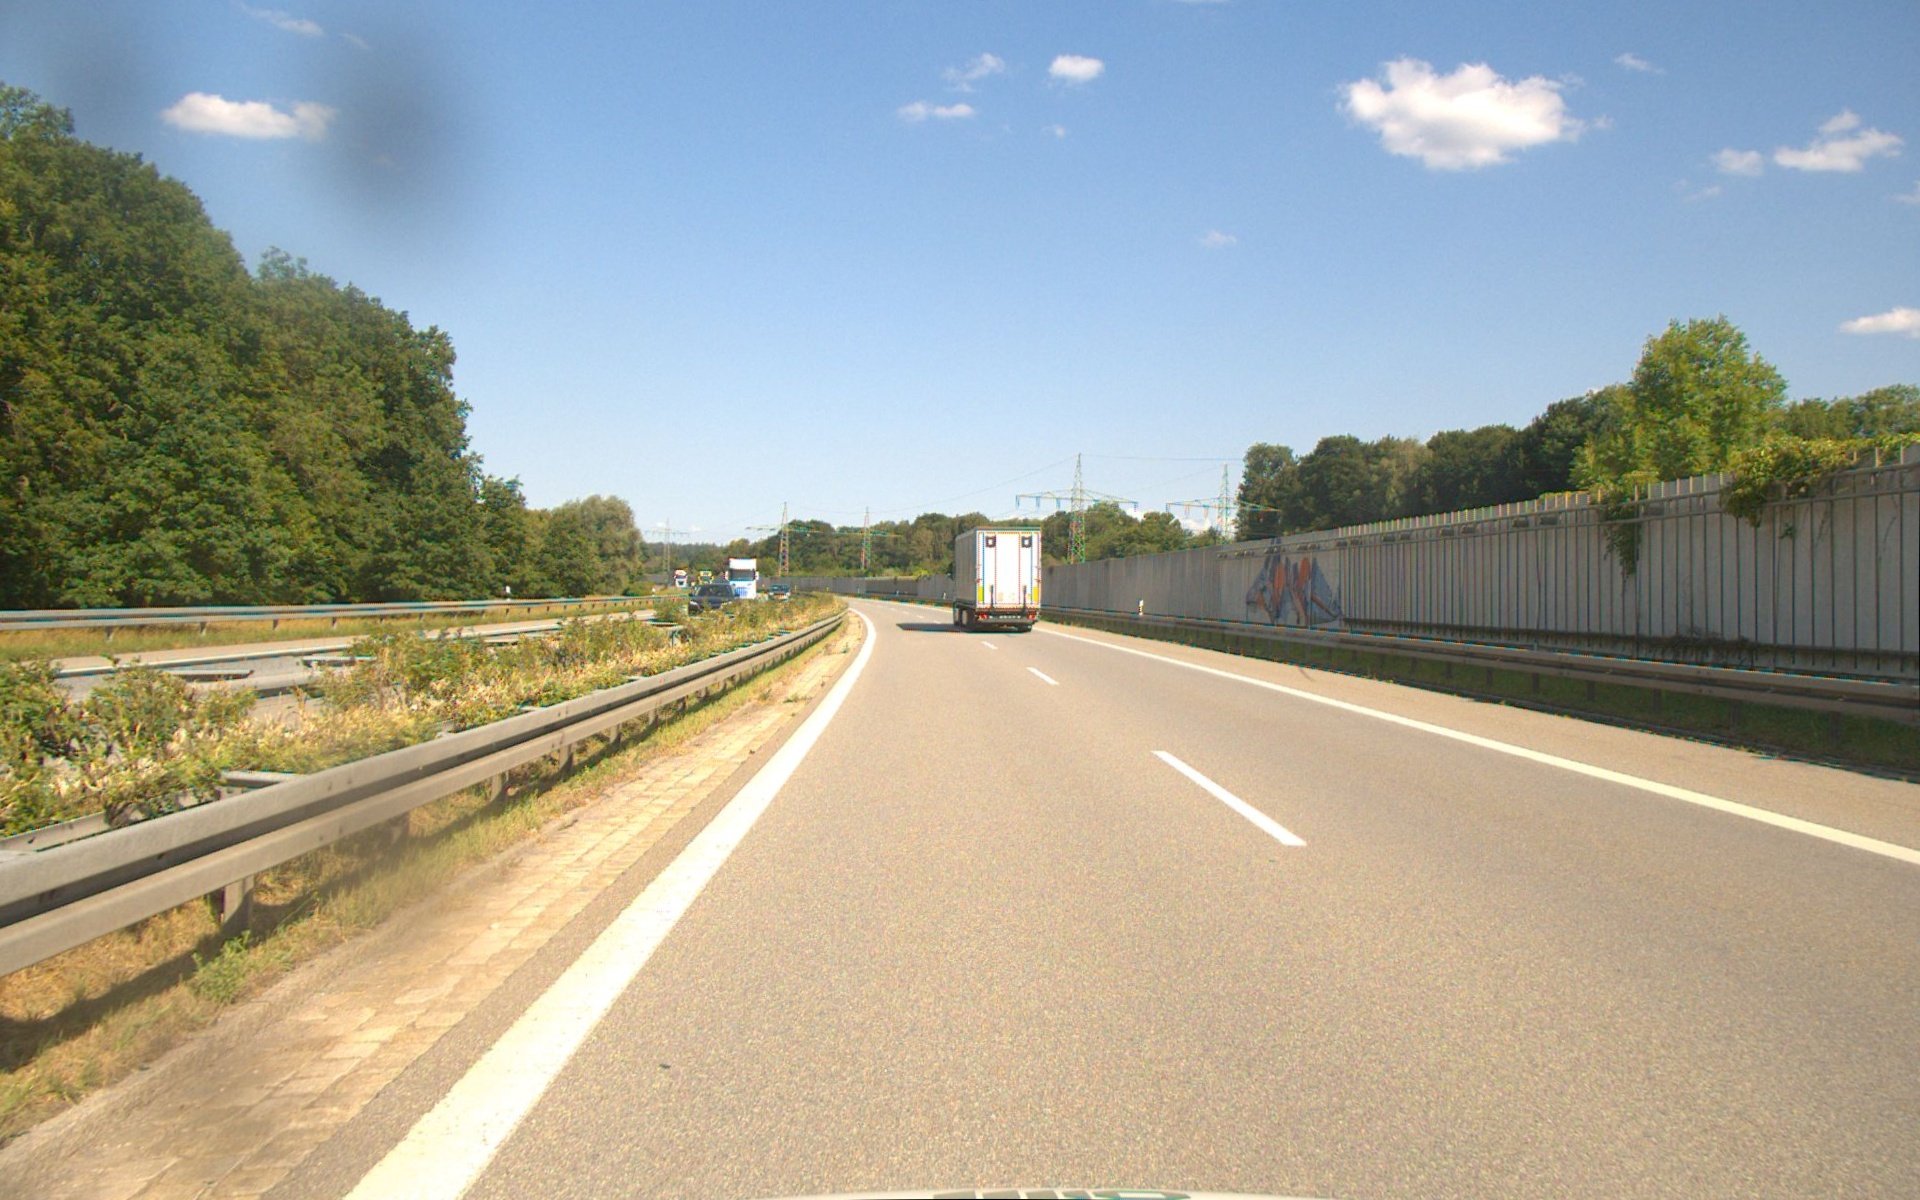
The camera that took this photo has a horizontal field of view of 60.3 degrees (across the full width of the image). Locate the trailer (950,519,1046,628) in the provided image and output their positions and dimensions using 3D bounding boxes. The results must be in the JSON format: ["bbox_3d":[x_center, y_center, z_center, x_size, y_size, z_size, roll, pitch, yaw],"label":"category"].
[{"bbox_3d":[1.409,-1.028,69.363,2.827,4.137,12.409,0,0,-4],"label":"trailer"}]

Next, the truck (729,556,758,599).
[{"bbox_3d":[-20.032,-2.046,152.767,2.575,3.906,6.798,0,0,-8],"label":"truck"}]

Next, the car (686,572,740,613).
[{"bbox_3d":[-9.272,-0.296,62.303,1.626,1.475,4.244,0,0,-3],"label":"car"}]

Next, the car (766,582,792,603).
[{"bbox_3d":[-14.358,-0.596,131.320,1.806,1.634,3.998,0,0,-3],"label":"car"}]

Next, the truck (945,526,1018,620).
[{"bbox_3d":[0.901,-1.170,75.469,2.775,4.082,6.581,0,0,-4],"label":"truck"}]
